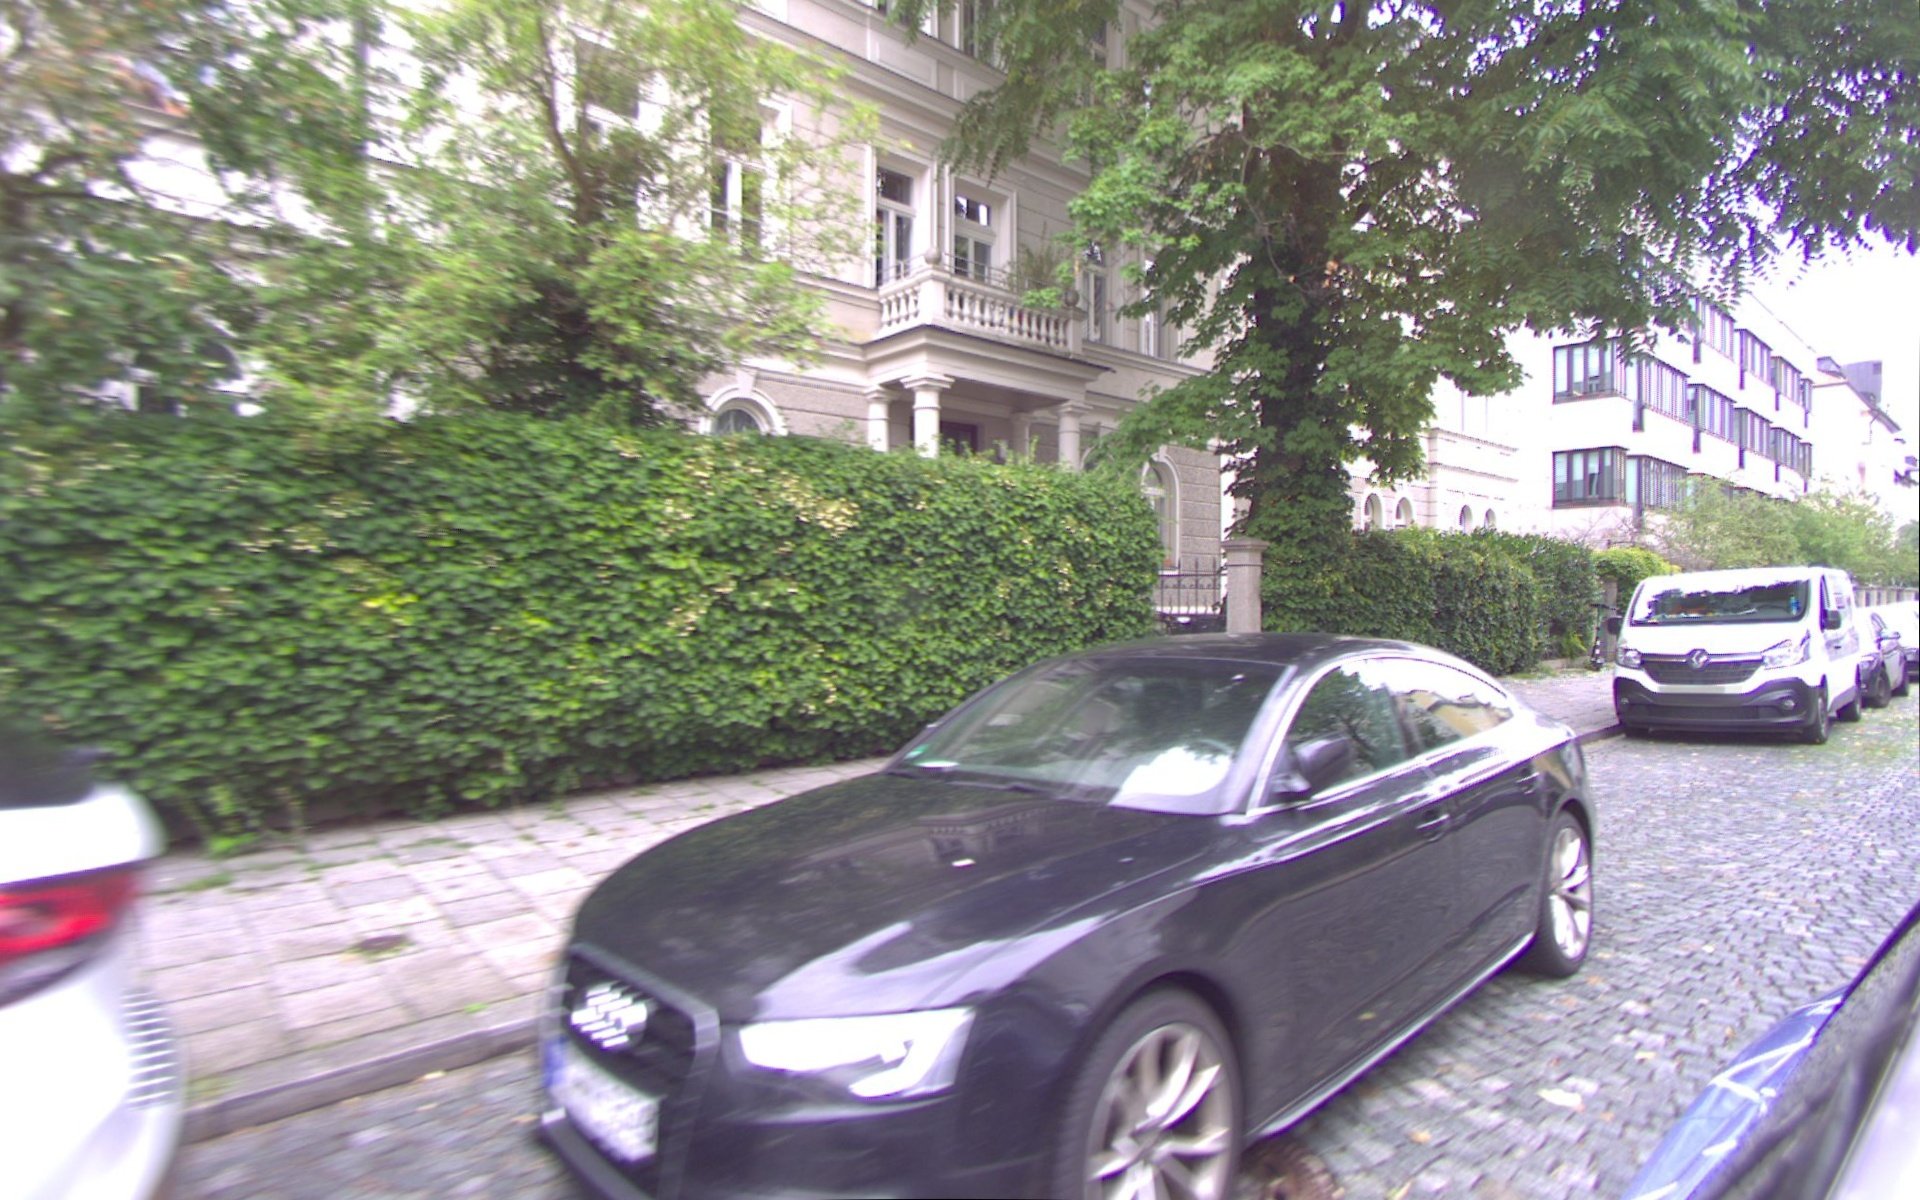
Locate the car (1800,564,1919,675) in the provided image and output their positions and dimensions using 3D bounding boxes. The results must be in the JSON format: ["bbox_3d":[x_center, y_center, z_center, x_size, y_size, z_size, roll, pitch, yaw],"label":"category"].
[{"bbox_3d":[18.602,0.336,20.368,3.930,2.039,1.997,-1,0,-41],"label":"car"}]

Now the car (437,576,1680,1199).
[{"bbox_3d":[0.897,0.595,3.745,4.727,1.314,1.921,-1,1,-42],"label":"car"}]

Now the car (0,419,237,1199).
[{"bbox_3d":[-3.197,0.607,0.569,4.396,1.620,1.749,-1,0,-42],"label":"car"}]

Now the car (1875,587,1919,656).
[{"bbox_3d":[25.978,0.537,26.888,3.930,1.737,1.997,-1,0,-41],"label":"car"}]

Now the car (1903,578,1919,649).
[{"bbox_3d":[29.588,0.366,29.997,3.930,2.039,1.997,-1,0,-41],"label":"car"}]

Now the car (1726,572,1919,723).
[{"bbox_3d":[13.595,0.607,15.671,3.930,2.039,1.997,-1,1,-41],"label":"car"}]

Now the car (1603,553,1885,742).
[{"bbox_3d":[9.530,0.488,12.145,4.727,1.843,1.815,-1,-3,-43],"label":"car"}]
